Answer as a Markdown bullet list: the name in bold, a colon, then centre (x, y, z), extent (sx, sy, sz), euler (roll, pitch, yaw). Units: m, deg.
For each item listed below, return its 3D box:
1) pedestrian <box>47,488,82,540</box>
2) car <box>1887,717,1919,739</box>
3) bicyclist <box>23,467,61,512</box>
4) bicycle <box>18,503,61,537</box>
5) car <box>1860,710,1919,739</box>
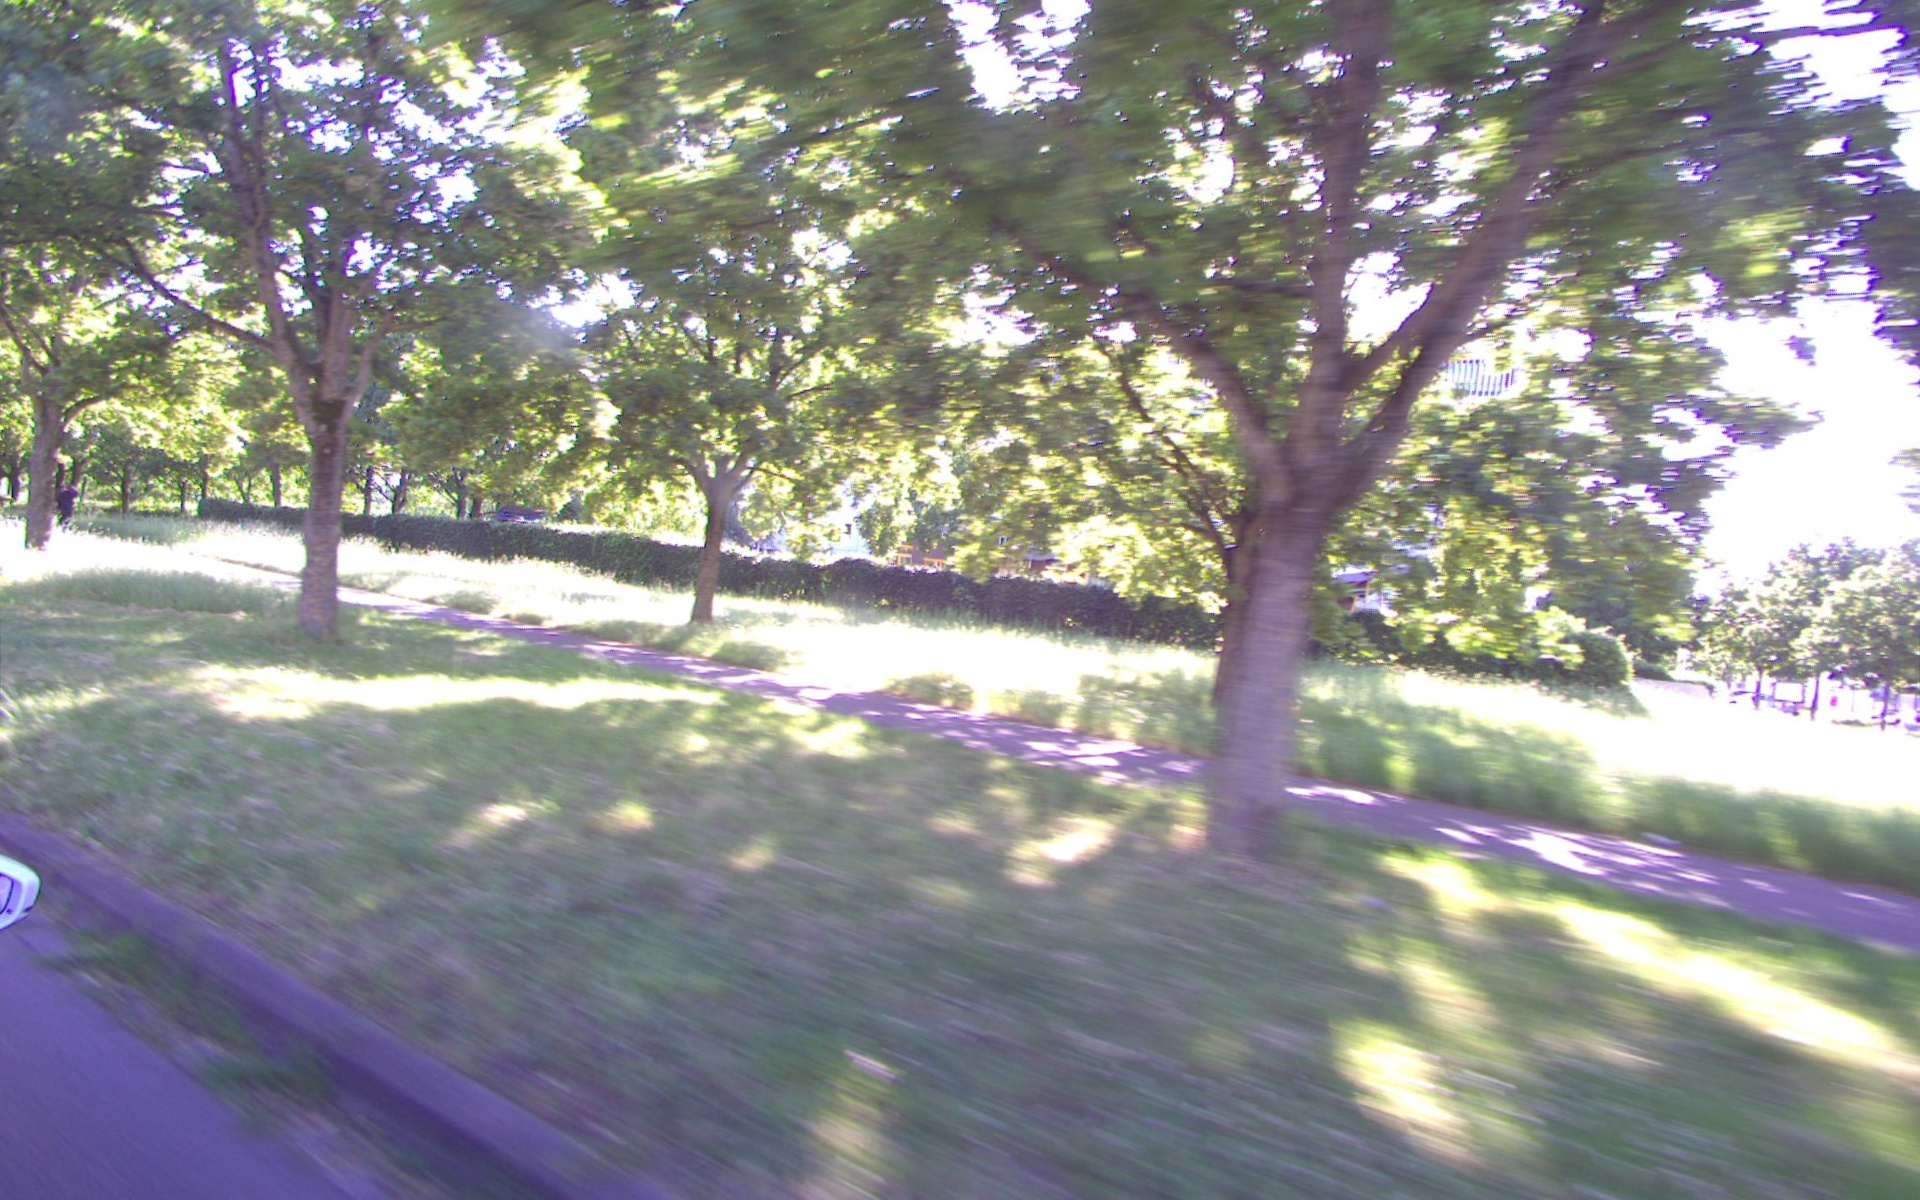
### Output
- **pedestrian**: centre (-33.683, -3.227, 37.836), extent (0.782, 1.826, 0.715), euler (7, 1, 38)
- **car**: centre (78.669, 10.637, 81.897), extent (4.208, 1.438, 1.919), euler (7, 0, 20)
- **bicyclist**: centre (-32.588, -3.912, 35.709), extent (0.833, 1.469, 0.788), euler (6, 1, 39)
- **bicycle**: centre (-32.724, -2.851, 35.754), extent (2.111, 1.060, 0.793), euler (6, 1, 39)
- **car**: centre (79.004, 10.531, 84.734), extent (4.208, 1.778, 1.919), euler (7, 0, 21)
